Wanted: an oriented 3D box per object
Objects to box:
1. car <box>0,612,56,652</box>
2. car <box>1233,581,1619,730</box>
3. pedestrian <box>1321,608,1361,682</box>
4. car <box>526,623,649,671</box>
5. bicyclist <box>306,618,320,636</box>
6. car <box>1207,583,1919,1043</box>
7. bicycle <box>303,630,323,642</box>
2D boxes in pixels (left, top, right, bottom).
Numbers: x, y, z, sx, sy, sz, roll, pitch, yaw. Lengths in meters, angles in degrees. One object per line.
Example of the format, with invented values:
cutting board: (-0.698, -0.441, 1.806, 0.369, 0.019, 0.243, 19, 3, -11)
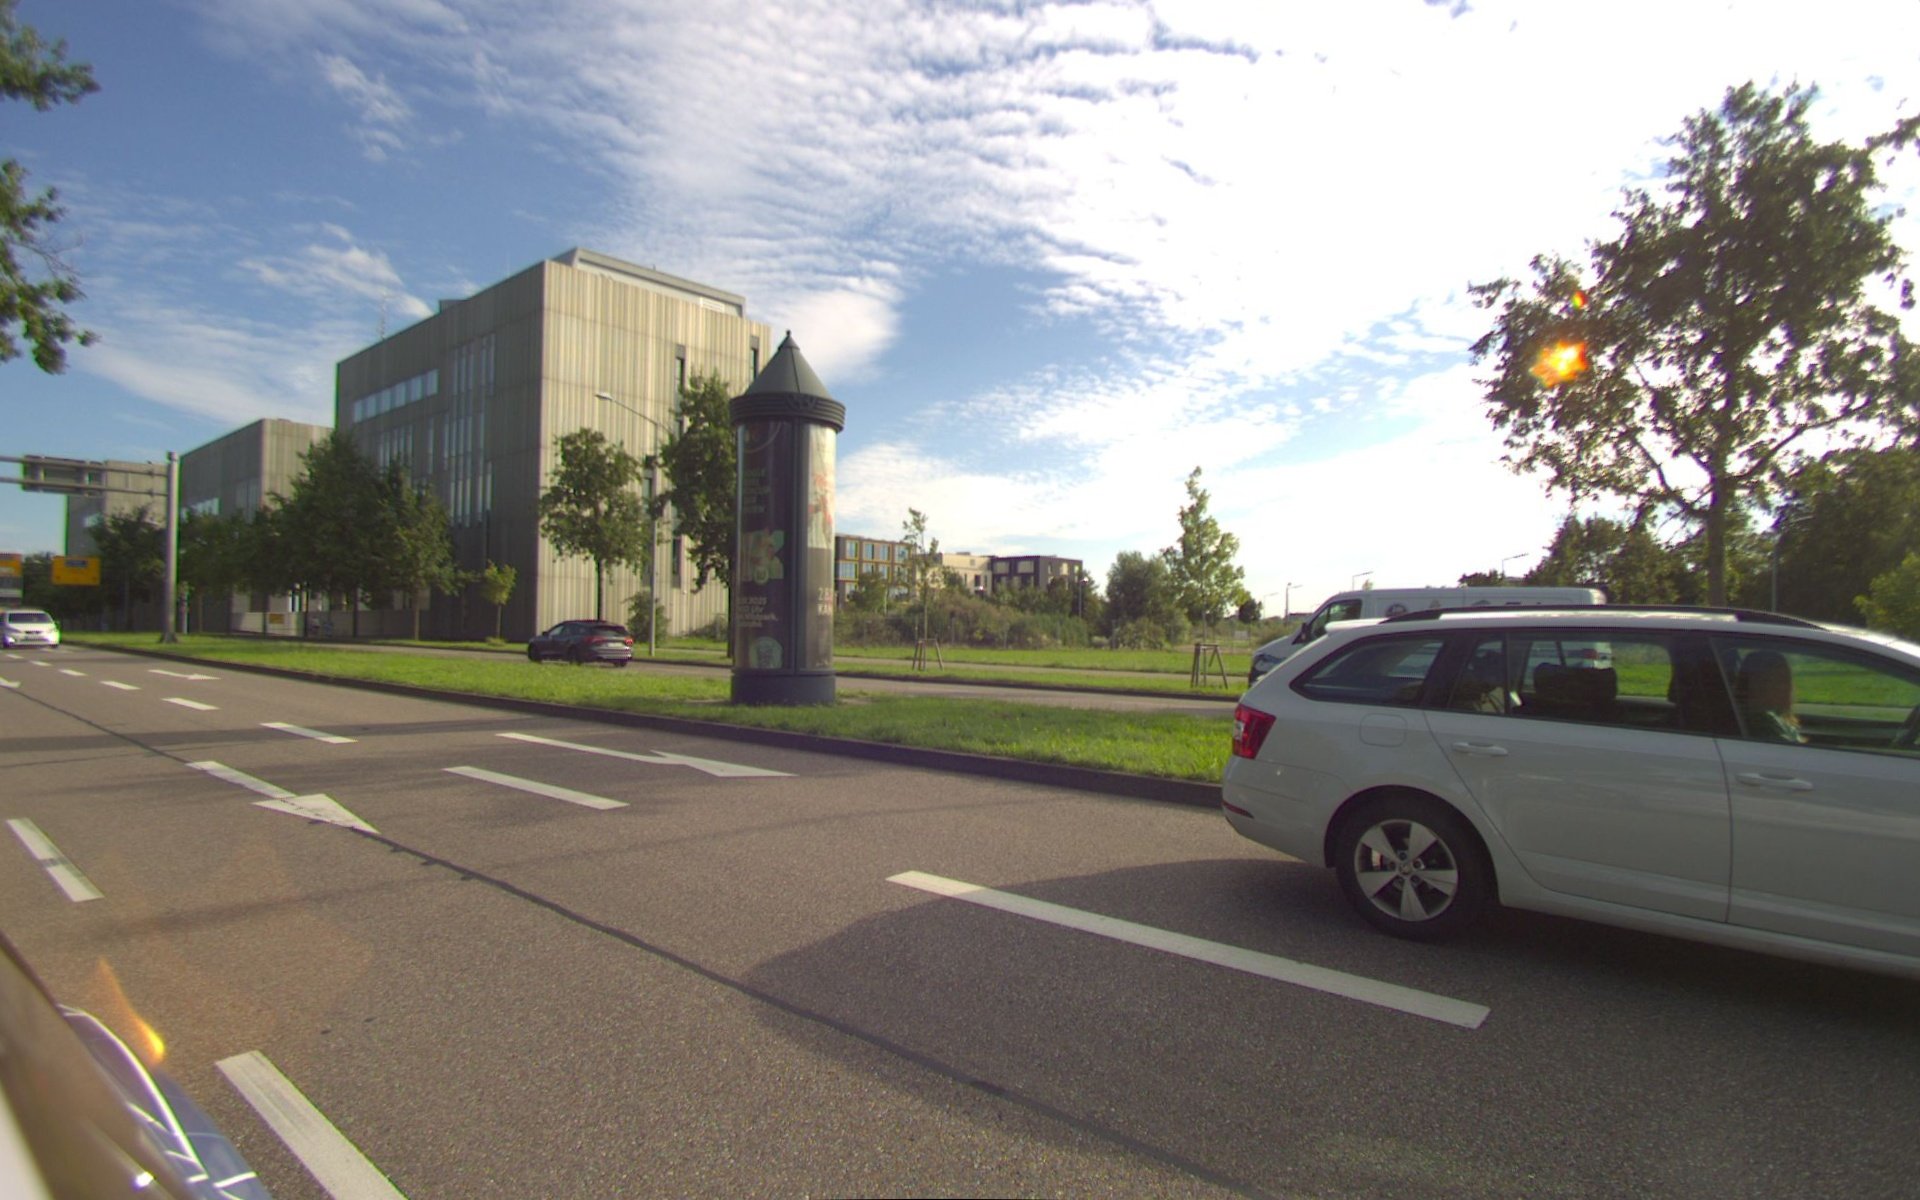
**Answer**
car: (-36.414, 1.211, 39.254, 4.001, 1.475, 1.722, -1, -1, 44)
car: (8.044, 0.928, 17.905, 5.917, 2.252, 1.974, -1, -4, 38)
pedestrian: (10.645, 1.248, 28.286, 0.867, 2.029, 0.667, -1, -3, 41)
car: (-12.090, 1.507, 32.733, 4.205, 1.420, 1.881, -1, -4, 41)
bicyclist: (-53.803, 2.244, 84.159, 0.989, 1.537, 0.698, -1, -3, 41)
car: (3.455, 0.710, 4.177, 4.479, 1.510, 1.681, -1, -1, 41)
bicycle: (-53.837, 3.008, 84.172, 1.910, 0.989, 0.885, -1, -3, 41)
